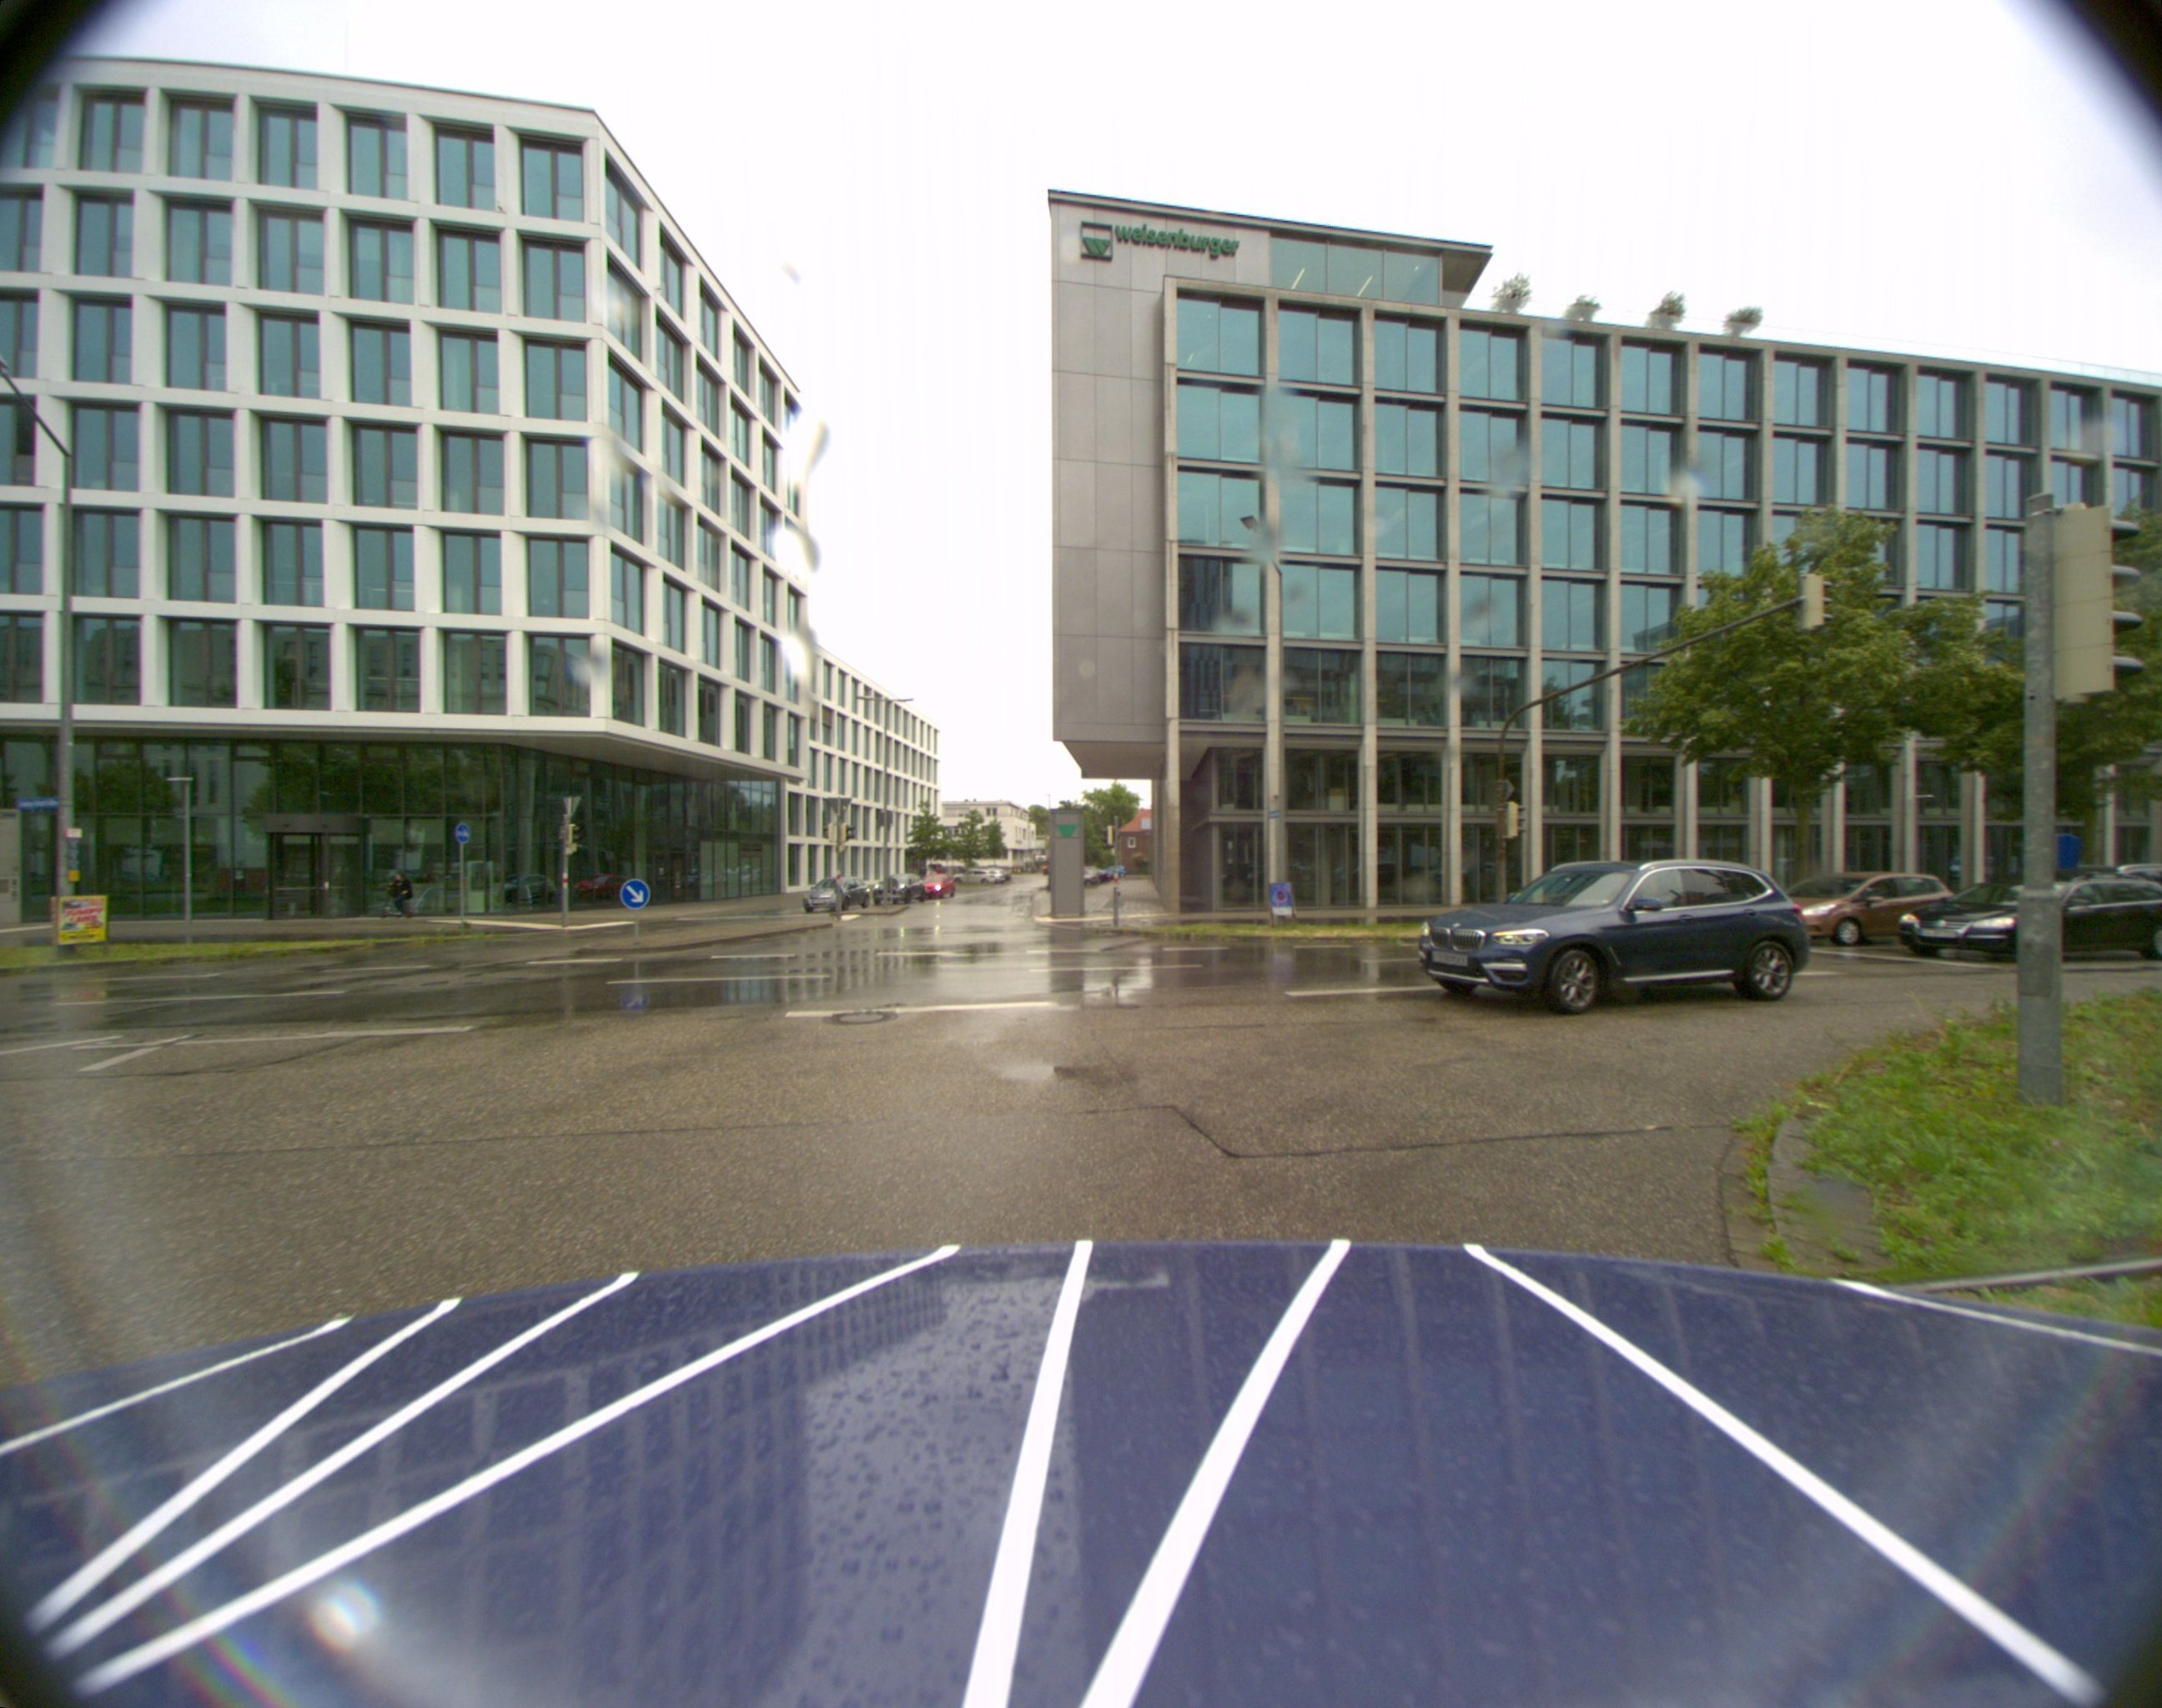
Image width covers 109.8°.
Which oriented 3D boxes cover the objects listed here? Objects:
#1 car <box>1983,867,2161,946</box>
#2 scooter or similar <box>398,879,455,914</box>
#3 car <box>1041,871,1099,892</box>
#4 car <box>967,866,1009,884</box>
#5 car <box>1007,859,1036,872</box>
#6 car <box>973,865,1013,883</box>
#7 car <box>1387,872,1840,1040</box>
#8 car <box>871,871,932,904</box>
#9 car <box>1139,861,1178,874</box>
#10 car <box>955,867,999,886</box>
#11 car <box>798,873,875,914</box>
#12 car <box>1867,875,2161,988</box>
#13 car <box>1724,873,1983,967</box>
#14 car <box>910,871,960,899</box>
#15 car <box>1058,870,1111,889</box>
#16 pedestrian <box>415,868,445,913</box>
[{"bbox_3d":[24.494,1.183,18.152,4.273,1.531,1.955,-2,1,-11],"label":"car"},{"bbox_3d":[-24.283,1.558,28.240,0.550,1.146,2.160,-2,1,-10],"label":"scooter or similar"},{"bbox_3d":[-0.899,2.298,64.194,4.654,1.499,2.001,-2,1,5],"label":"car"},{"bbox_3d":[-9.624,2.195,78.994,3.997,1.652,2.000,-2,1,0],"label":"car"},{"bbox_3d":[-8.566,1.661,109.359,3.997,1.652,2.000,-2,1,0],"label":"car"},{"bbox_3d":[-9.452,2.160,81.539,3.997,1.652,2.000,-2,1,0],"label":"car"},{"bbox_3d":[6.402,1.084,9.287,4.718,1.650,1.927,0,0,-14],"label":"car"},{"bbox_3d":[-9.291,1.701,39.681,1.885,1.428,4.095,-2,1,5],"label":"car"},{"bbox_3d":[10.104,1.783,99.032,5.021,1.499,1.854,-2,1,5],"label":"car"},{"bbox_3d":[-10.232,2.187,74.773,3.997,1.652,2.000,-2,1,0],"label":"car"},{"bbox_3d":[-10.392,1.653,32.591,1.886,1.428,4.094,-2,1,1],"label":"car"},{"bbox_3d":[17.176,1.296,13.697,4.463,1.550,1.955,-3,1,-9],"label":"car"},{"bbox_3d":[17.079,1.387,16.885,4.272,1.684,1.955,-2,1,-10],"label":"car"},{"bbox_3d":[-8.871,1.863,46.562,1.885,1.428,4.095,-2,1,5],"label":"car"},{"bbox_3d":[0.366,2.283,69.465,4.654,1.499,2.001,-2,1,5],"label":"car"},{"bbox_3d":[-24.127,1.328,28.163,0.546,1.634,0.634,1,0,-7],"label":"pedestrian"}]
